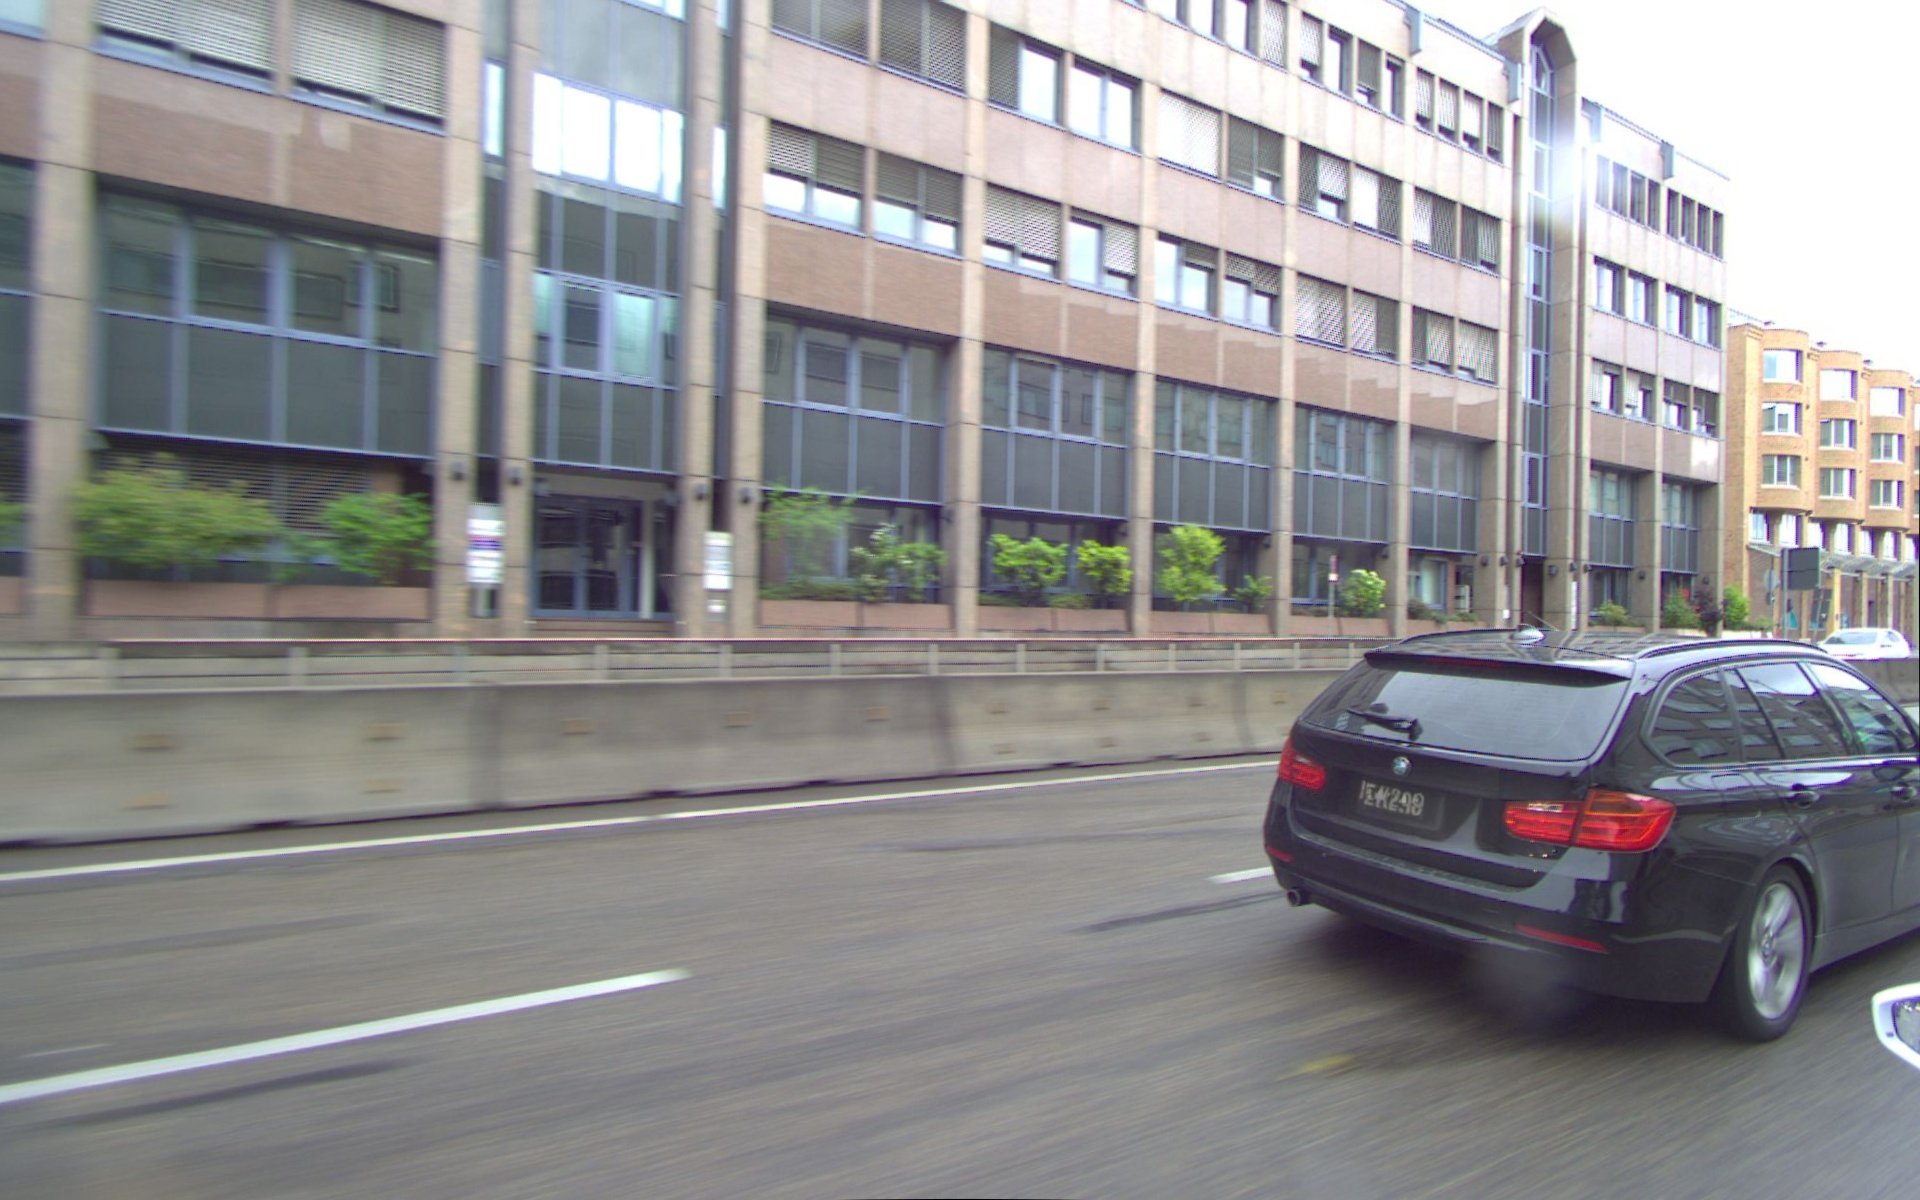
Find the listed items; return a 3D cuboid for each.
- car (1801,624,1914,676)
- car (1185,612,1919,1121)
[{"bbox_3d":[28.123,1.538,31.465,3.614,1.462,1.595,-1,-1,-30],"label":"car"},{"bbox_3d":[3.393,0.813,4.835,4.560,1.445,1.782,1,-1,-31],"label":"car"}]
